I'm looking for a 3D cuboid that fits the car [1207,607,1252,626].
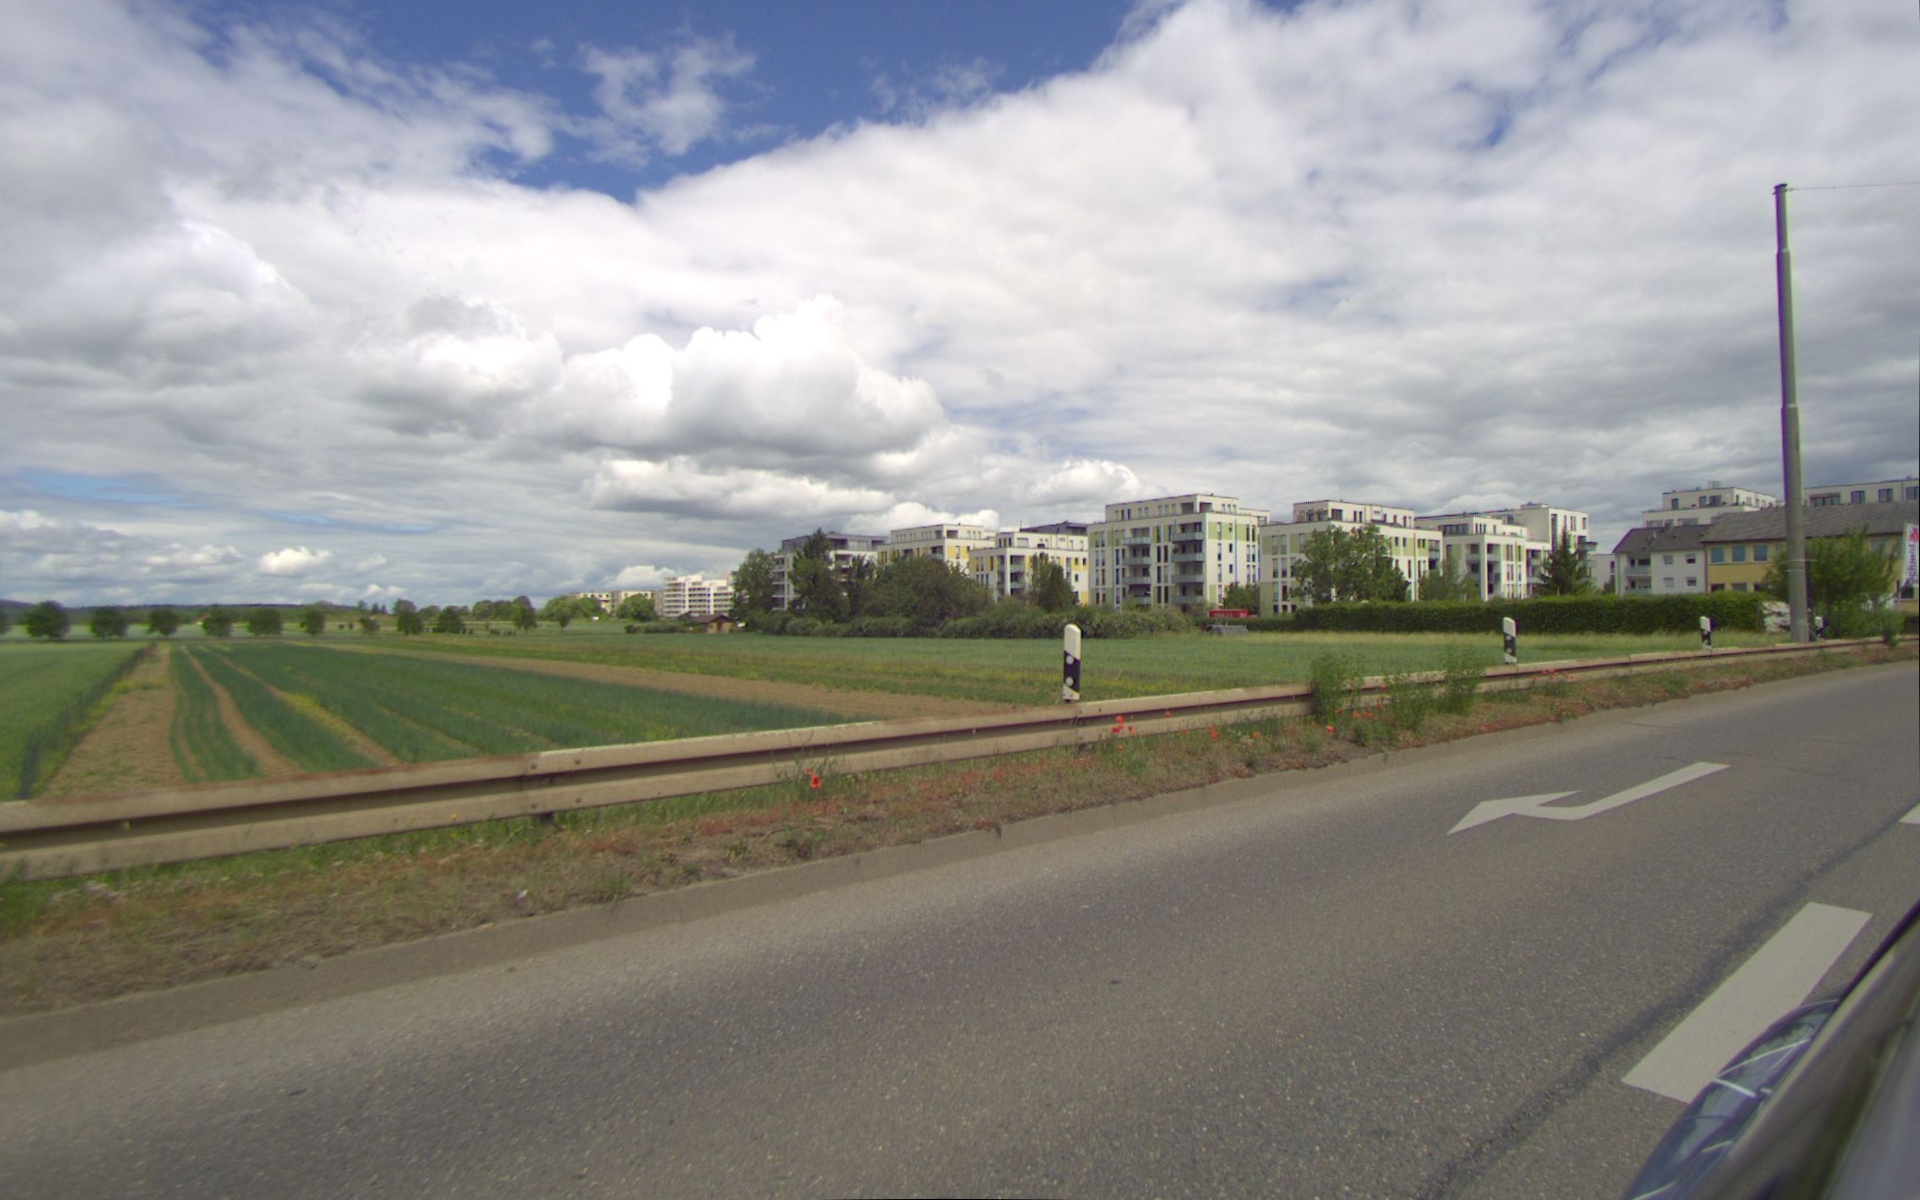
[{"bbox_3d":[29.923,1.862,112.390,1.966,2.039,4.432,0,0,-41],"label":"car"}]
